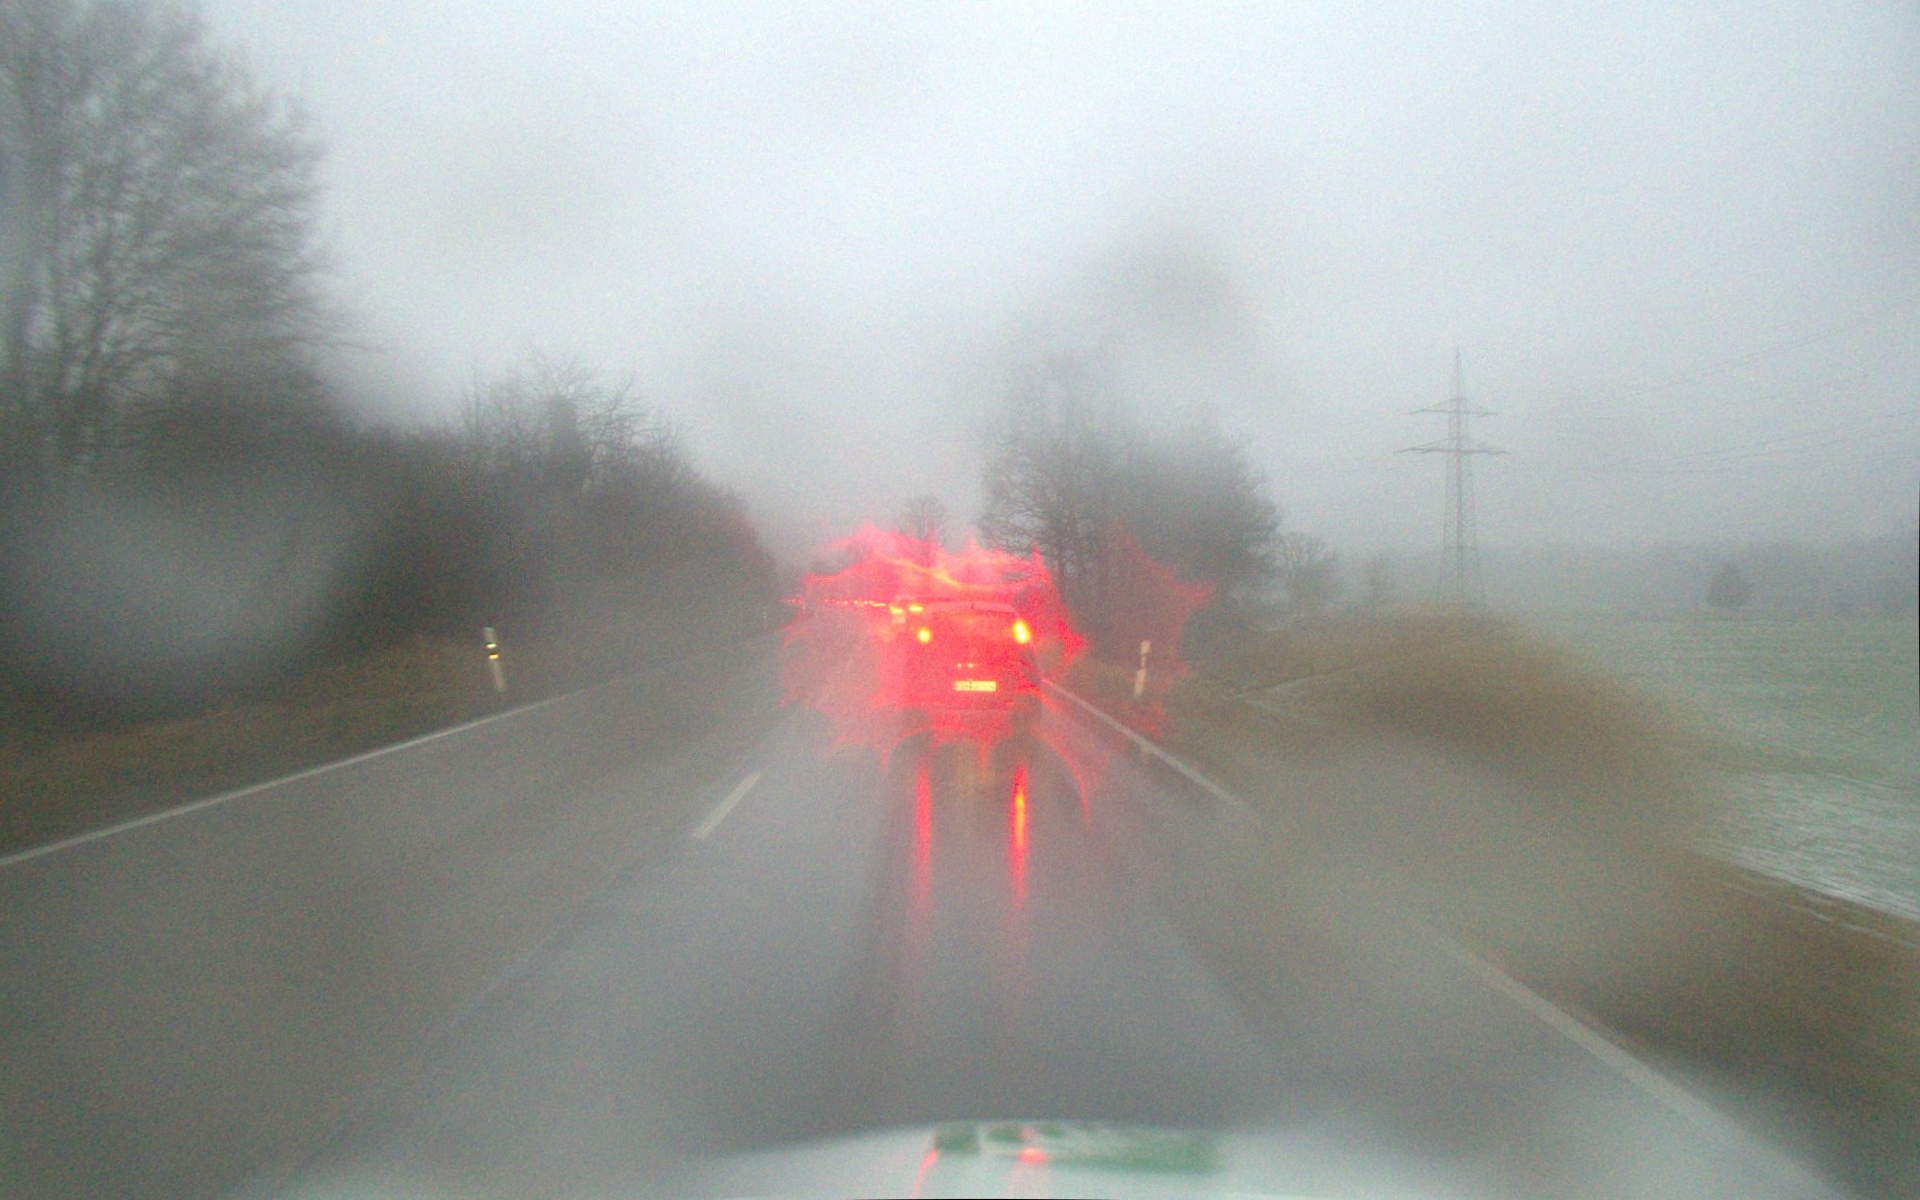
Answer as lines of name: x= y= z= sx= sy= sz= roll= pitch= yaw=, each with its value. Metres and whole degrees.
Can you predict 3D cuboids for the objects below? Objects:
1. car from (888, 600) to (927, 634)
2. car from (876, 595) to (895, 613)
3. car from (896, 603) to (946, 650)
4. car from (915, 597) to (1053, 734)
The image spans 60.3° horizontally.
car: x=-2.251 y=0.707 z=71.966 sx=1.515 sy=1.421 sz=3.869 roll=1 pitch=0 yaw=0
car: x=-6.339 y=0.339 z=141.080 sx=1.515 sy=1.421 sz=3.869 roll=1 pitch=0 yaw=-1
car: x=-1.260 y=0.816 z=52.713 sx=1.515 sy=1.421 sz=3.868 roll=1 pitch=0 yaw=-2
car: x=0.315 y=0.754 z=20.952 sx=1.569 sy=1.549 sz=3.870 roll=1 pitch=0 yaw=1
